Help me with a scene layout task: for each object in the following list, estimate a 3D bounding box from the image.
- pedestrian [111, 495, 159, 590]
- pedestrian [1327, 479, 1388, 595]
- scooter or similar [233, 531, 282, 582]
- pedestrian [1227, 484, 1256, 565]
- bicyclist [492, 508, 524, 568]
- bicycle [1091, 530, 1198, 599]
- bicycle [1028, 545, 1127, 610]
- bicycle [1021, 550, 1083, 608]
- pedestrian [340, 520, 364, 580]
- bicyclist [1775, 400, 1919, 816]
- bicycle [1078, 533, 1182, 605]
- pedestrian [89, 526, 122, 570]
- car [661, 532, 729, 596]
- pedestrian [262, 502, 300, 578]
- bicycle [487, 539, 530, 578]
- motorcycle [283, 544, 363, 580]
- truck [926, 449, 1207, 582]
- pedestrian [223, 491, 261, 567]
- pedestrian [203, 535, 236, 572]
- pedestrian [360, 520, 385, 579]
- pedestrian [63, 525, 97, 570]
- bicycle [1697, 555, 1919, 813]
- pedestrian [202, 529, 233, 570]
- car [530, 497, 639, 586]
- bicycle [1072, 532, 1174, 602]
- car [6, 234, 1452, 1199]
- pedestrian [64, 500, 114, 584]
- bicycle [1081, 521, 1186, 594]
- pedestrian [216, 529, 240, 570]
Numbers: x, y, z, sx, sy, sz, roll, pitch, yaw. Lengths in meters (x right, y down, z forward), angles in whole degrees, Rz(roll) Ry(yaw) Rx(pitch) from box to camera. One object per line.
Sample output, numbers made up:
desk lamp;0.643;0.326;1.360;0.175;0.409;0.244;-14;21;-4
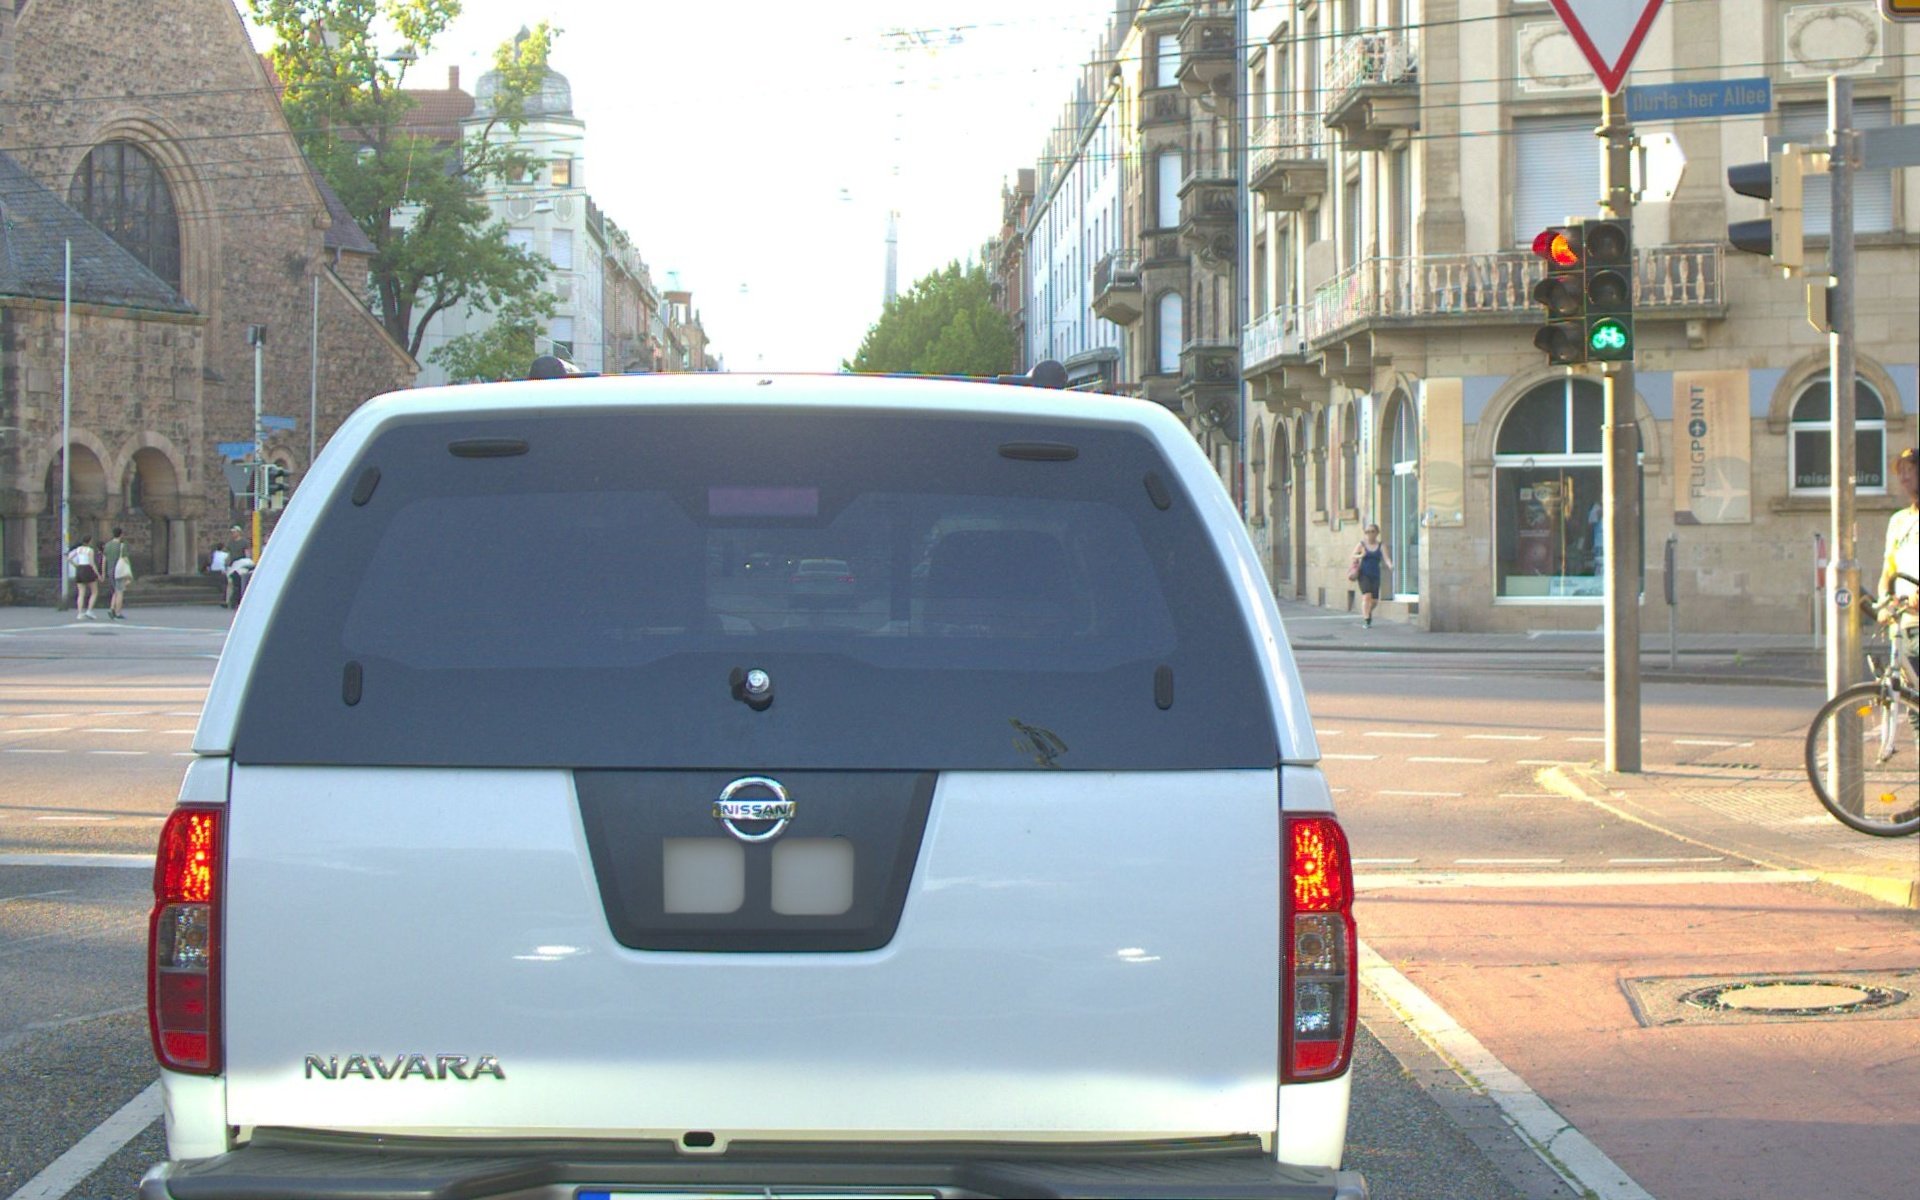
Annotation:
pedestrian;-16.623;-1.152;69.272;0.812;1.894;0.666;1;0;-3
pedestrian;6.122;-0.965;52.925;0.788;1.773;0.543;1;0;25
scooter or similar;-15.629;-0.978;76.487;0.634;1.099;1.078;1;2;15
pedestrian;5.745;-1.536;70.210;0.527;1.648;0.547;1;0;-1
bicyclist;-12.407;-1.701;94.327;0.599;1.639;0.963;0;1;-26
bicycle;3.328;-0.639;62.224;1.817;1.146;0.636;-3;1;-2
bicycle;2.135;-0.417;62.691;1.726;1.080;0.317;-3;1;-2
bicycle;1.701;-0.387;63.574;1.076;1.021;0.317;-3;1;-2
pedestrian;-17.259;-1.410;97.600;0.642;1.689;0.562;1;0;-9
bicyclist;4.163;0.031;15.486;0.696;1.818;0.628;0;1;-33
bicycle;3.152;-0.583;63.876;1.817;1.233;0.478;-3;1;-2
pedestrian;-18.559;-1.131;74.686;0.522;0.957;0.479;1;0;19
car;-8.682;-1.211;113.021;1.993;2.007;4.951;-1;1;-2
pedestrian;-15.243;-1.354;77.233;0.634;1.692;0.602;1;0;13
bicycle;-12.400;-1.139;94.334;0.599;1.040;1.946;0;1;-25
motorcycle;-17.788;-1.055;96.006;2.167;0.984;0.593;1;1;19
truck;2.174;-1.664;68.771;5.658;2.556;2.286;-1;1;-44
pedestrian;-16.143;-1.594;77.272;0.634;1.692;0.602;1;1;14
pedestrian;-19.065;-1.191;88.517;0.552;0.957;0.709;1;1;20
pedestrian;-17.054;-1.472;99.815;0.642;1.689;0.562;1;0;-1
pedestrian;-19.185;-1.142;74.961;0.522;0.957;0.479;1;0;19
bicycle;4.325;0.361;15.585;2.065;1.106;0.628;0;1;-33
pedestrian;-17.358;-1.180;80.396;0.522;0.957;0.479;1;0;17
car;-8.067;-1.294;74.232;1.993;1.778;4.798;0;2;-2
bicycle;3.115;-0.636;65.738;1.855;1.233;0.531;-3;1;-2
car;-0.348;0.387;6.794;1.993;1.803;4.000;1;1;-1
pedestrian;-17.549;-1.165;69.266;0.812;1.664;0.860;1;0;-3
bicycle;3.188;-0.778;63.163;1.817;1.233;0.488;-3;1;-2
pedestrian;-17.165;-1.192;80.624;0.521;0.957;0.479;1;0;-16
